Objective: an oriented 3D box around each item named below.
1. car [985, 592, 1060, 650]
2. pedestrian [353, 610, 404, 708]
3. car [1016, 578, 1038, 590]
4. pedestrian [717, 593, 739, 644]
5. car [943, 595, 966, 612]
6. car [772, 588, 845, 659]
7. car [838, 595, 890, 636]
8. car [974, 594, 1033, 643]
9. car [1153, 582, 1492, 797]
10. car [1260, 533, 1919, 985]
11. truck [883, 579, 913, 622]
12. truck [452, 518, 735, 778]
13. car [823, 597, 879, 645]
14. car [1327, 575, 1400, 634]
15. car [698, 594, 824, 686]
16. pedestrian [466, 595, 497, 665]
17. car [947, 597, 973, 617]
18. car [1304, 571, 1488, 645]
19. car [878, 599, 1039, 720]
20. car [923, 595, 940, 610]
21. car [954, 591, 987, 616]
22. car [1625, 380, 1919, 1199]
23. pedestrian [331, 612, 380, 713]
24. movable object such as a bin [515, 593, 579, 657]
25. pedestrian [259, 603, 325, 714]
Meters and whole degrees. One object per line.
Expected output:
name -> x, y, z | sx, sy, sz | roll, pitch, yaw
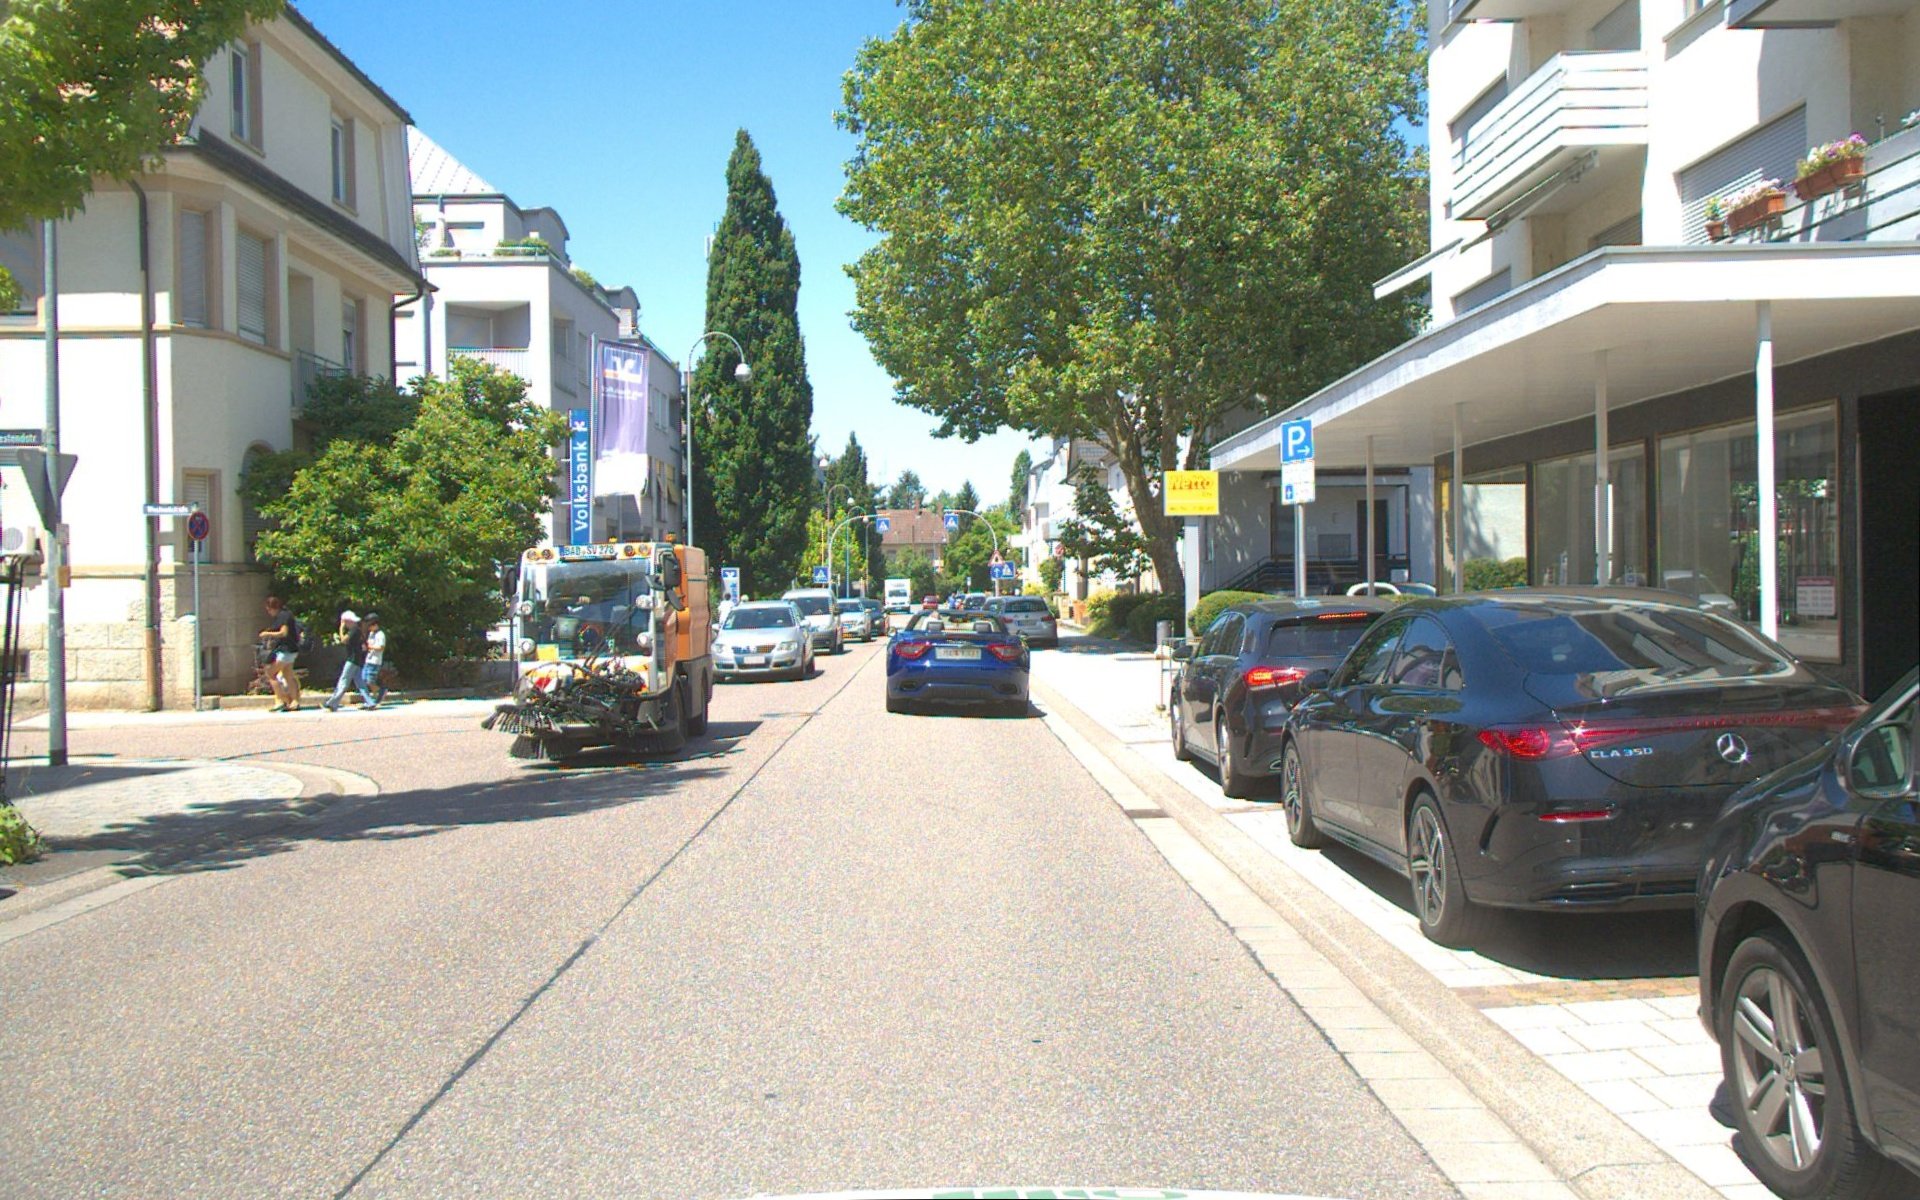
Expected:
car -> 1.802, 0.575, 48.778 | 1.936, 1.475, 4.348 | -3, 1, -1
pedestrian -> -8.719, 0.867, 24.788 | 0.588, 1.395, 0.689 | -3, 2, -25
car -> 9.518, -2.278, 235.078 | 1.910, 1.502, 4.139 | -2, 0, 19
pedestrian -> -7.262, 0.575, 51.793 | 0.575, 1.602, 0.781 | -1, 0, -2
car -> -0.502, 0.295, 150.803 | 1.911, 1.502, 4.136 | -2, 0, -2
car -> -4.176, 0.615, 46.165 | 1.734, 1.798, 4.136 | -2, 1, -2
car -> -3.841, 0.613, 66.538 | 1.911, 1.502, 4.136 | -2, 0, -2
car -> 1.560, 0.659, 61.019 | 1.936, 1.584, 4.348 | -3, 1, -1
car -> 2.807, 0.645, 13.766 | 1.807, 1.439, 4.162 | -2, 0, -1
car -> 2.889, 0.578, 8.231 | 1.856, 1.557, 4.568 | -2, 0, -1
truck -> -5.448, 0.058, 143.763 | 2.373, 3.542, 6.999 | -2, 0, -3
truck -> -3.463, 0.386, 16.544 | 1.768, 2.154, 4.714 | -2, 1, -1
car -> -3.765, 0.703, 57.640 | 1.734, 1.502, 4.136 | -2, 0, -2
car -> 11.262, 0.096, 46.023 | 1.804, 1.478, 4.003 | -4, 0, 15
car -> -3.806, 0.713, 32.363 | 1.910, 1.535, 4.795 | -2, 1, -1
pedestrian -> -11.319, 0.714, 39.101 | 0.668, 1.652, 0.712 | 1, -2, -17
car -> -0.026, 0.575, 133.950 | 1.911, 1.502, 4.136 | -2, 0, -2
car -> 9.966, 0.209, 38.065 | 1.823, 1.478, 3.962 | -3, 0, -28
car -> -0.060, 0.725, 22.588 | 1.936, 1.422, 4.626 | 2, 0, -1
car -> -2.957, 0.250, 169.489 | 1.734, 1.502, 4.136 | -1, 0, -2
car -> 0.654, 0.206, 105.704 | 1.911, 1.502, 4.136 | -2, 0, -2
car -> 2.859, 0.470, 2.414 | 1.952, 1.830, 4.570 | -2, 2, 1
pedestrian -> -8.761, 0.895, 23.961 | 0.588, 1.395, 0.690 | -3, 2, -22
movable object such as a bin -> -10.548, 0.625, 42.314 | 1.330, 1.520, 1.296 | -2, 2, -5
pedestrian -> -9.691, 0.835, 23.992 | 0.683, 1.556, 0.594 | 0, 3, 45
